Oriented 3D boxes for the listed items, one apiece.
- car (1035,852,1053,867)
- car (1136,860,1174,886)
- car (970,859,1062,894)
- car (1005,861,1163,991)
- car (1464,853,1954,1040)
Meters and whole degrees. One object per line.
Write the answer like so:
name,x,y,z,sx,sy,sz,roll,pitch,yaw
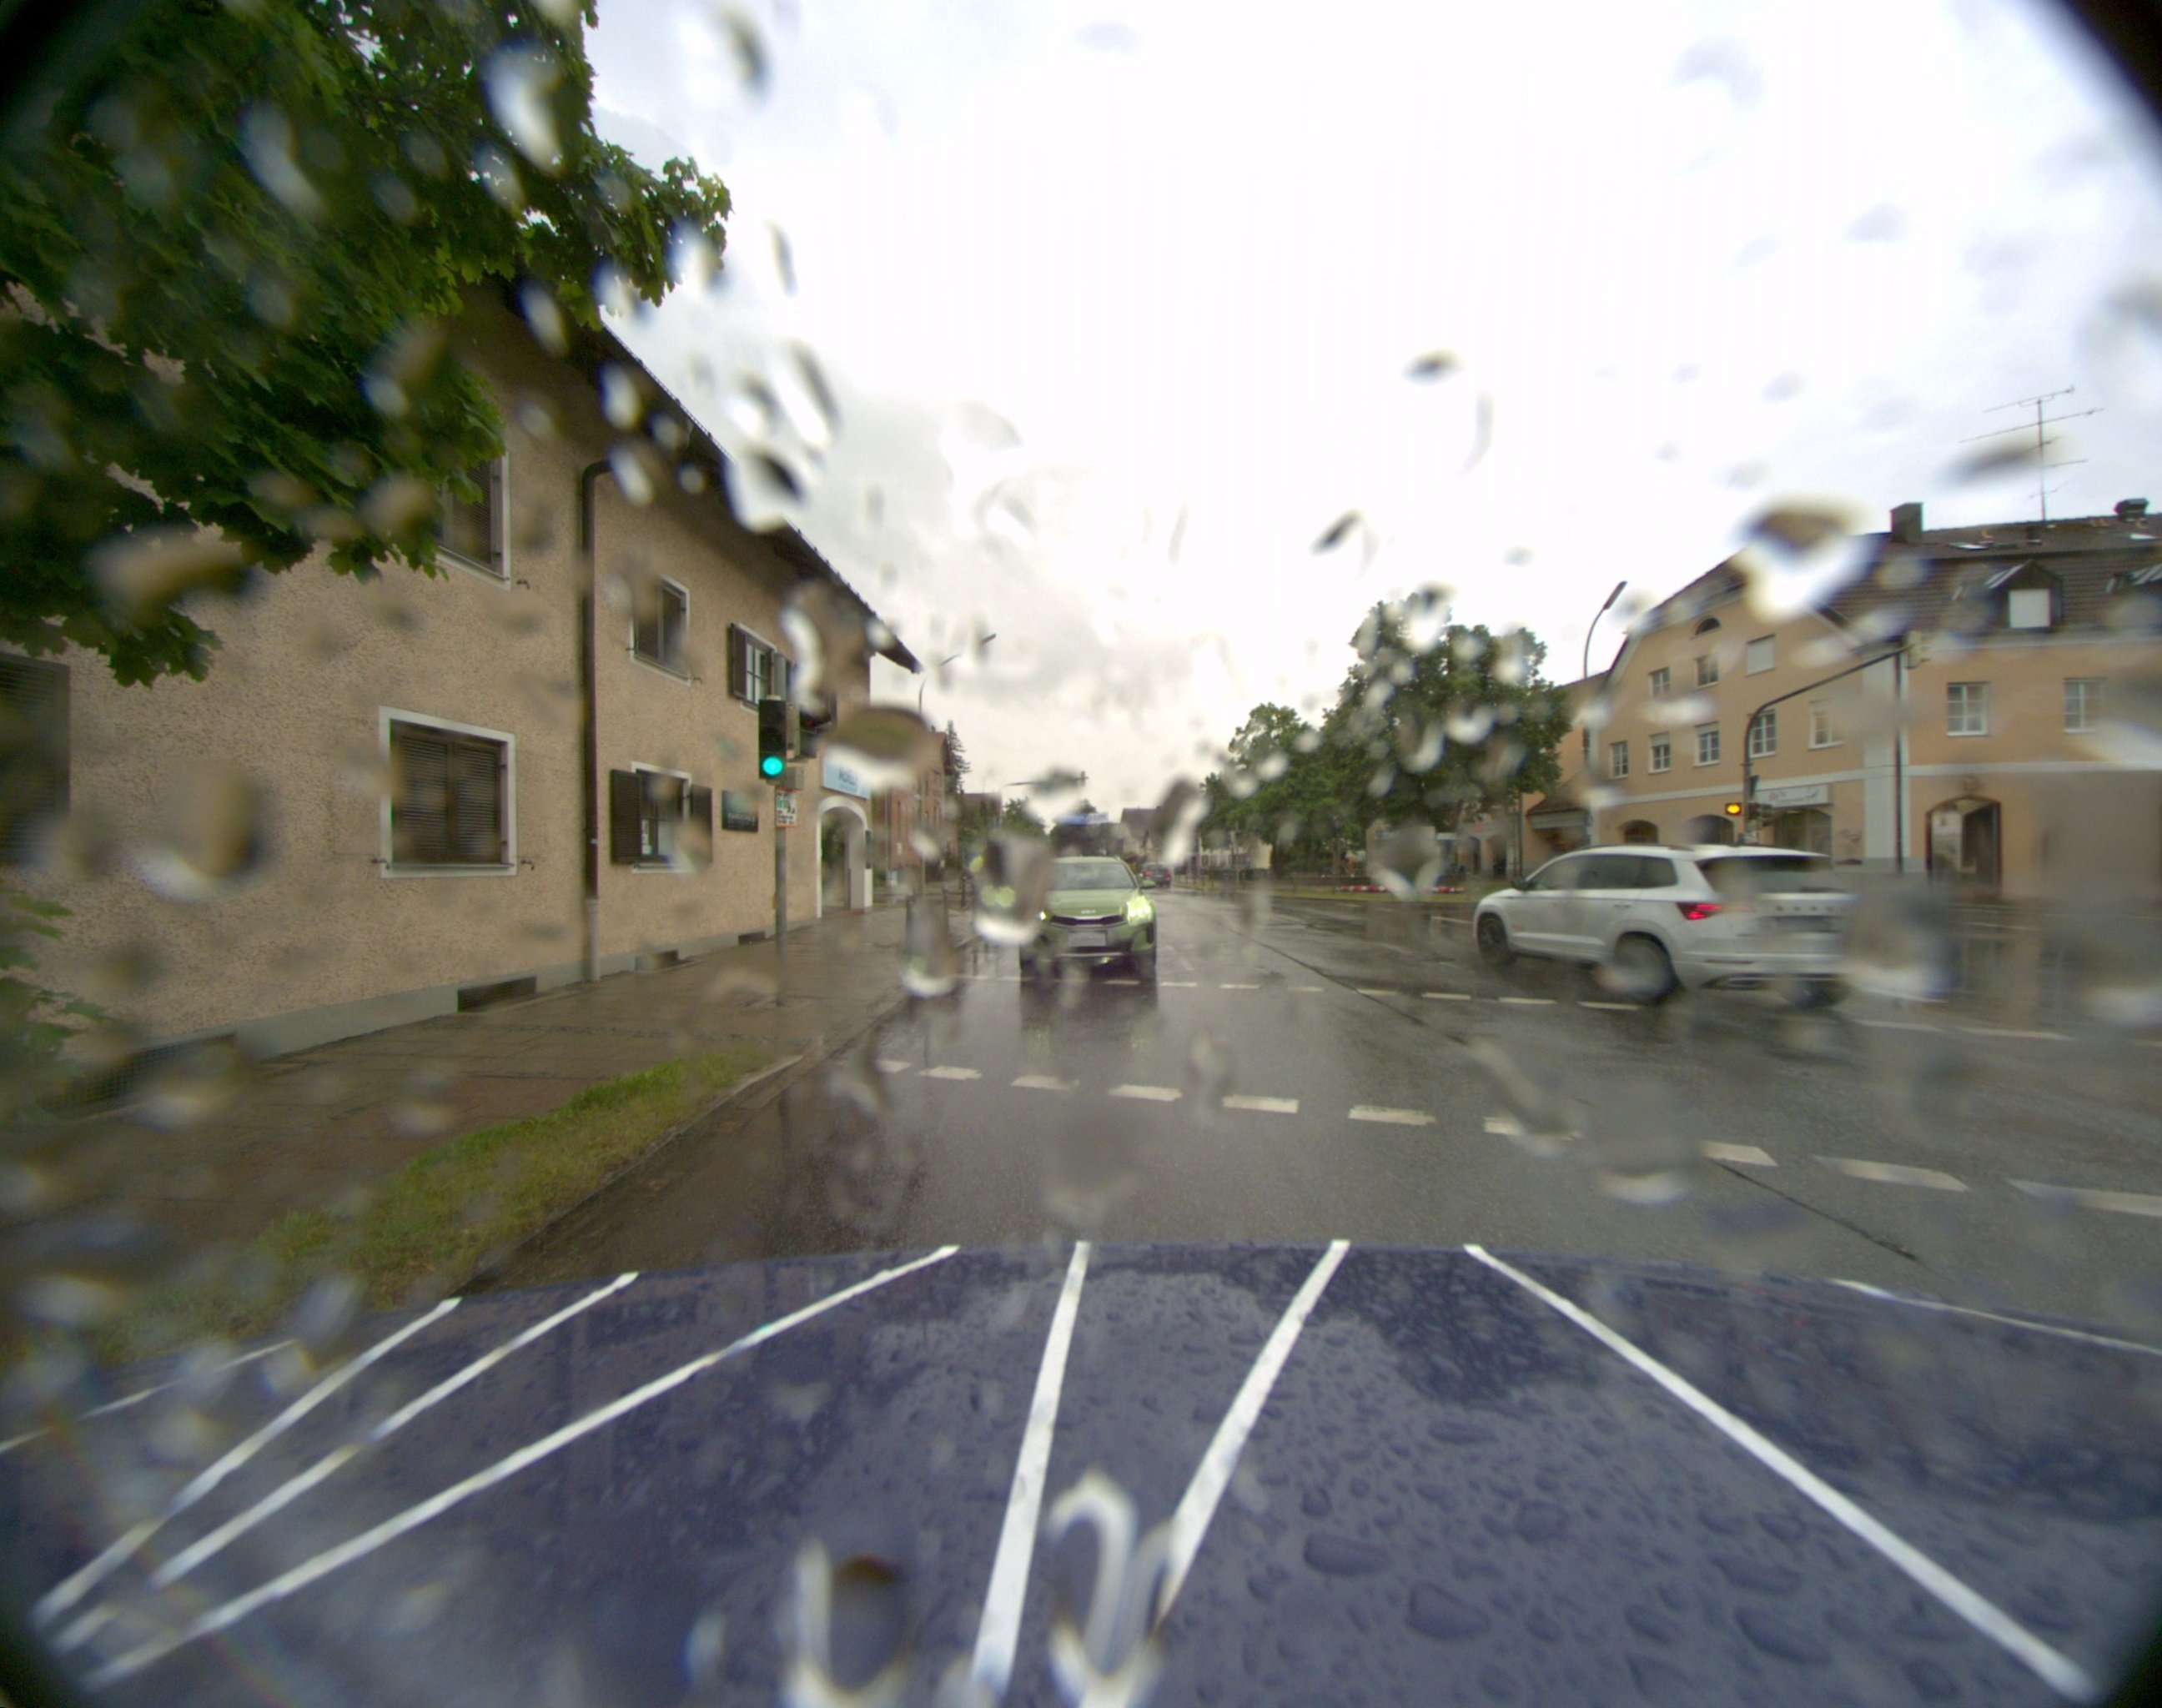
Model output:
car,-5.235,0.738,106.485,2.218,1.977,4.952,0,0,-5
car,4.750,1.192,49.113,1.921,1.524,3.898,0,0,-3
car,-2.953,0.980,35.403,1.731,1.489,4.620,0,0,35
car,0.062,0.885,11.183,1.872,1.505,4.105,-1,0,1
car,6.301,0.772,8.432,1.972,1.553,4.151,0,0,-1
